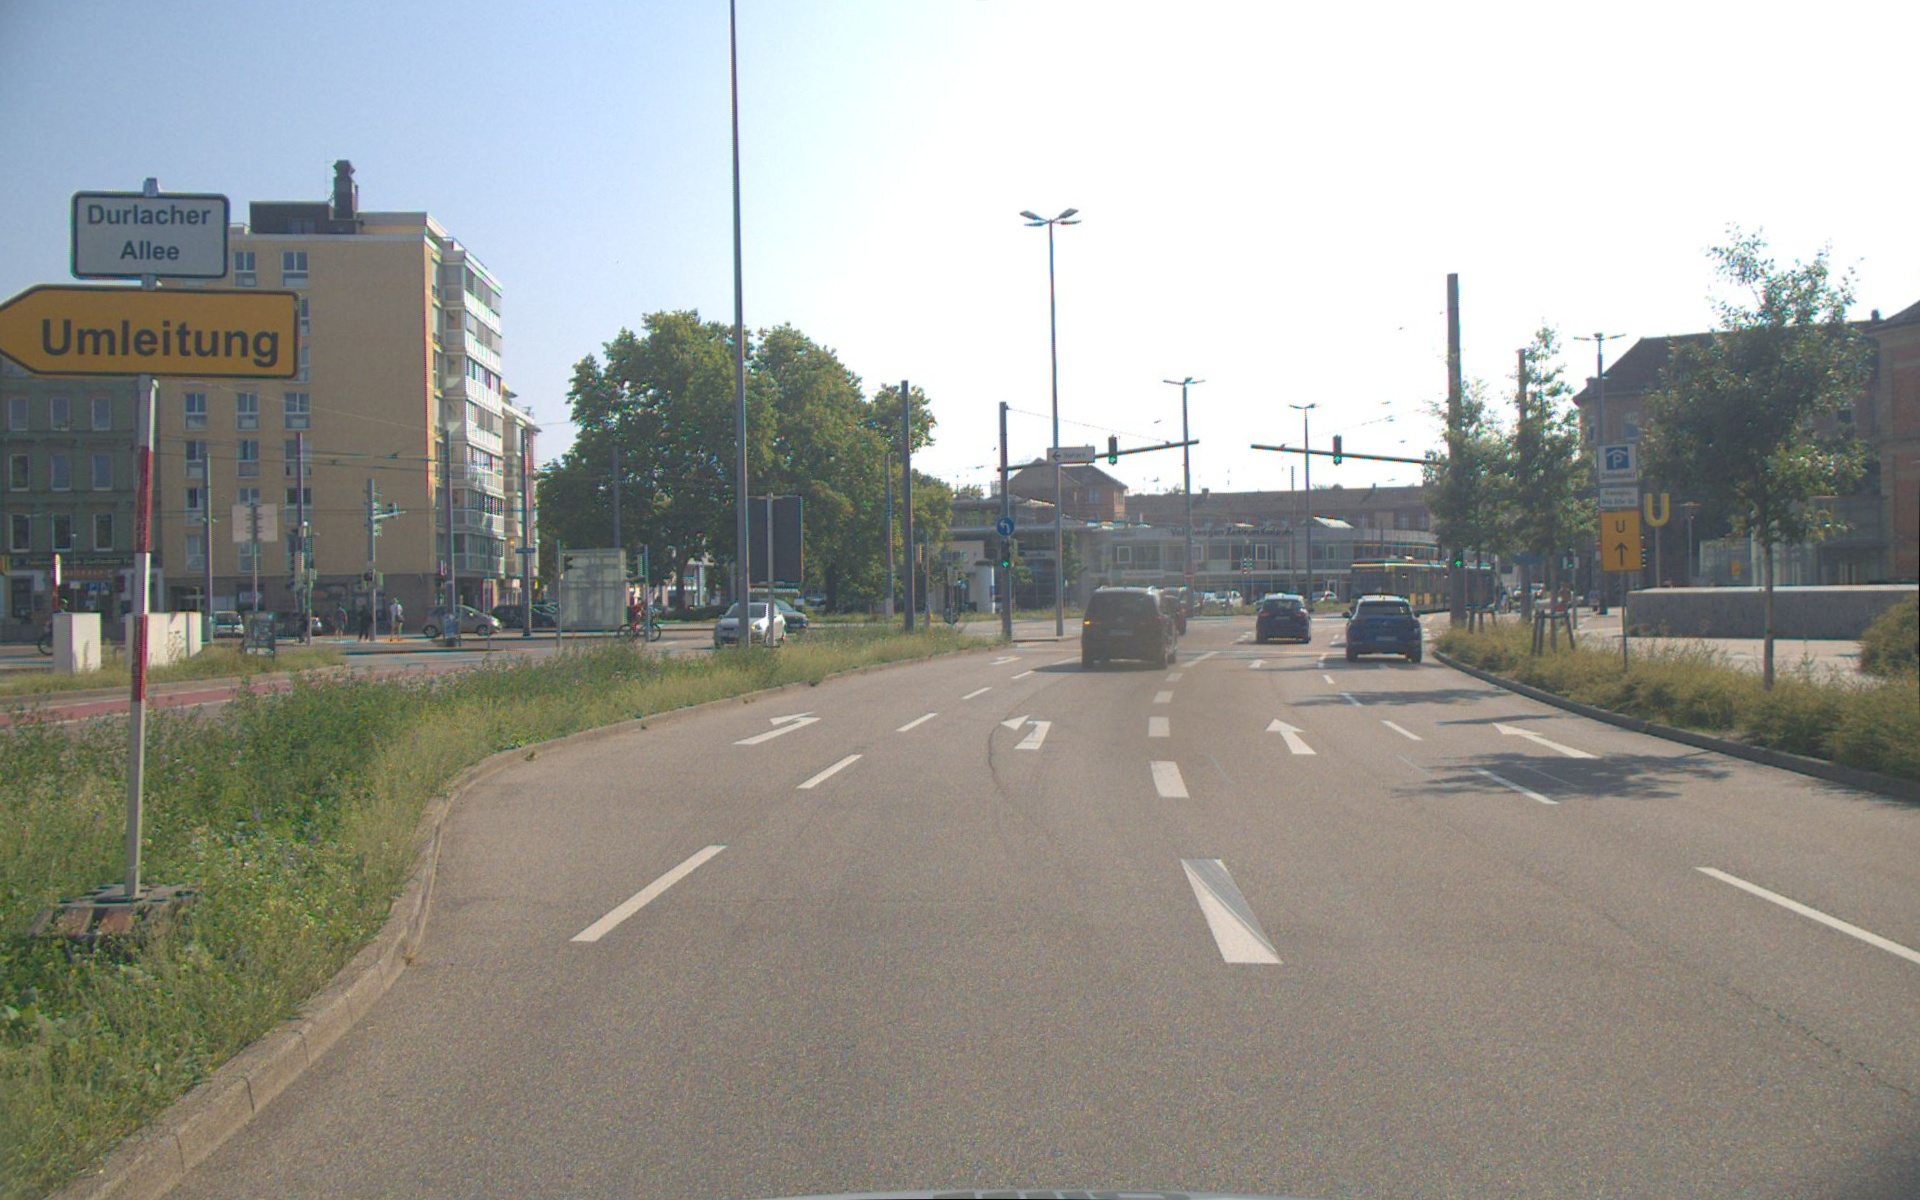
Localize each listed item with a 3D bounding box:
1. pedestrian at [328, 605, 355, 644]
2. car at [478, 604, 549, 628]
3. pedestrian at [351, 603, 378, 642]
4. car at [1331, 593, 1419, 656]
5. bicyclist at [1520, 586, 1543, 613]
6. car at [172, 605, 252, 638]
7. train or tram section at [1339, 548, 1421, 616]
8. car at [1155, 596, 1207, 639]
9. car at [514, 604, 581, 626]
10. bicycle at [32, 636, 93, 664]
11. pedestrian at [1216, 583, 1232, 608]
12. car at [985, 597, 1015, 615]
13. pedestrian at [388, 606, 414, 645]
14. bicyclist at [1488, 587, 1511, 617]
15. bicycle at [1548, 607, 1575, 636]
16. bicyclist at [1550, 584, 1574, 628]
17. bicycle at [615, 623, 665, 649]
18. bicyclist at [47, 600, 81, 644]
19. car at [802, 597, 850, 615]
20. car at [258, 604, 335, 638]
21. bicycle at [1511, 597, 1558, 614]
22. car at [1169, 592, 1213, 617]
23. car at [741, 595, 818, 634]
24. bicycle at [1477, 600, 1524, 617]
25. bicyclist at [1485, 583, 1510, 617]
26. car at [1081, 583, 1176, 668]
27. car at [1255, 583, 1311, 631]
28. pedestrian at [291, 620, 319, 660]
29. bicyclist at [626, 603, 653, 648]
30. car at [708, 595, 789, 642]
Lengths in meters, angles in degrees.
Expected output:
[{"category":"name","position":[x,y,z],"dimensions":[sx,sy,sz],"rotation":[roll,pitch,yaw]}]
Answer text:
[{"category":"pedestrian","position":[-27.478,1.084,73.509],"dimensions":[0.904,1.719,0.921],"rotation":[-1,0,-6]},{"category":"car","position":[-27.648,0.985,102.541],"dimensions":[4.077,1.378,1.479],"rotation":[-1,0,-7]},{"category":"pedestrian","position":[-26.406,0.995,73.328],"dimensions":[0.904,1.719,0.921],"rotation":[-1,0,-6]},{"category":"car","position":[10.420,0.578,41.783],"dimensions":[1.786,1.453,4.416],"rotation":[-1,0,10]},{"category":"bicyclist","position":[35.926,-0.040,103.907],"dimensions":[0.917,1.709,1.090],"rotation":[-1,0,-12]},{"category":"car","position":[-40.109,1.157,88.637],"dimensions":[4.460,1.708,1.992],"rotation":[-1,0,37]},{"category":"train or tram section","position":[25.060,-1.077,98.264],"dimensions":[2.602,3.764,10.580],"rotation":[-1,0,26]},{"category":"car","position":[8.529,0.648,63.557],"dimensions":[1.786,1.562,4.416],"rotation":[-1,0,10]},{"category":"car","position":[-27.157,0.988,108.907],"dimensions":[4.077,1.378,1.575],"rotation":[-1,0,-7]},{"category":"bicycle","position":[-31.881,1.777,58.756],"dimensions":[1.775,0.948,0.726],"rotation":[-1,0,0]},{"category":"pedestrian","position":[16.109,-0.292,100.950],"dimensions":[0.762,1.529,0.710],"rotation":[-1,0,26]},{"category":"car","position":[3.530,0.484,145.634],"dimensions":[1.663,1.549,4.102],"rotation":[-1,0,16]},{"category":"pedestrian","position":[-24.851,1.136,73.506],"dimensions":[0.904,1.719,0.921],"rotation":[-1,0,-6]},{"category":"bicyclist","position":[33.571,0.098,102.870],"dimensions":[0.917,1.831,1.090],"rotation":[-1,0,-12]},{"category":"bicycle","position":[21.471,0.769,58.997],"dimensions":[0.705,0.976,1.920],"rotation":[-1,0,25]},{"category":"bicyclist","position":[21.457,0.222,58.959],"dimensions":[0.705,1.539,1.004],"rotation":[-1,0,24]},{"category":"bicycle","position":[-12.293,1.367,63.531],"dimensions":[1.775,0.948,0.726],"rotation":[-1,0,0]},{"category":"bicyclist","position":[-31.837,0.775,58.759],"dimensions":[0.778,1.554,0.726],"rotation":[-1,0,0]},{"category":"car","position":[-12.139,0.568,149.914],"dimensions":[1.675,1.549,4.486],"rotation":[-1,0,42]},{"category":"car","position":[-35.506,1.112,88.424],"dimensions":[4.466,1.708,1.989],"rotation":[-1,0,41]},{"category":"bicycle","position":[36.117,0.330,103.955],"dimensions":[2.572,0.981,1.090],"rotation":[-1,0,-13]},{"category":"car","position":[14.763,0.287,105.693],"dimensions":[1.583,1.501,3.996],"rotation":[-3,-1,26]},{"category":"car","position":[-7.910,0.631,72.043],"dimensions":[1.677,1.645,4.415],"rotation":[-1,0,-31]},{"category":"bicycle","position":[33.593,0.526,102.876],"dimensions":[2.572,0.981,1.090],"rotation":[-1,0,-13]},{"category":"bicyclist","position":[32.719,-0.011,100.707],"dimensions":[0.922,2.059,1.084],"rotation":[-1,0,-26]},{"category":"car","position":[3.806,0.513,36.779],"dimensions":[1.786,1.744,4.416],"rotation":[1,1,10]},{"category":"car","position":[11.080,0.211,56.635],"dimensions":[1.786,1.562,4.416],"rotation":[-1,0,11]},{"category":"pedestrian","position":[-28.708,1.726,72.449],"dimensions":[0.904,1.719,0.921],"rotation":[-1,0,-6]},{"category":"bicyclist","position":[-12.301,0.969,63.539],"dimensions":[0.863,1.681,0.726],"rotation":[-1,0,0]},{"category":"car","position":[-6.961,0.594,54.842],"dimensions":[1.775,1.458,4.227],"rotation":[-1,0,5]}]
